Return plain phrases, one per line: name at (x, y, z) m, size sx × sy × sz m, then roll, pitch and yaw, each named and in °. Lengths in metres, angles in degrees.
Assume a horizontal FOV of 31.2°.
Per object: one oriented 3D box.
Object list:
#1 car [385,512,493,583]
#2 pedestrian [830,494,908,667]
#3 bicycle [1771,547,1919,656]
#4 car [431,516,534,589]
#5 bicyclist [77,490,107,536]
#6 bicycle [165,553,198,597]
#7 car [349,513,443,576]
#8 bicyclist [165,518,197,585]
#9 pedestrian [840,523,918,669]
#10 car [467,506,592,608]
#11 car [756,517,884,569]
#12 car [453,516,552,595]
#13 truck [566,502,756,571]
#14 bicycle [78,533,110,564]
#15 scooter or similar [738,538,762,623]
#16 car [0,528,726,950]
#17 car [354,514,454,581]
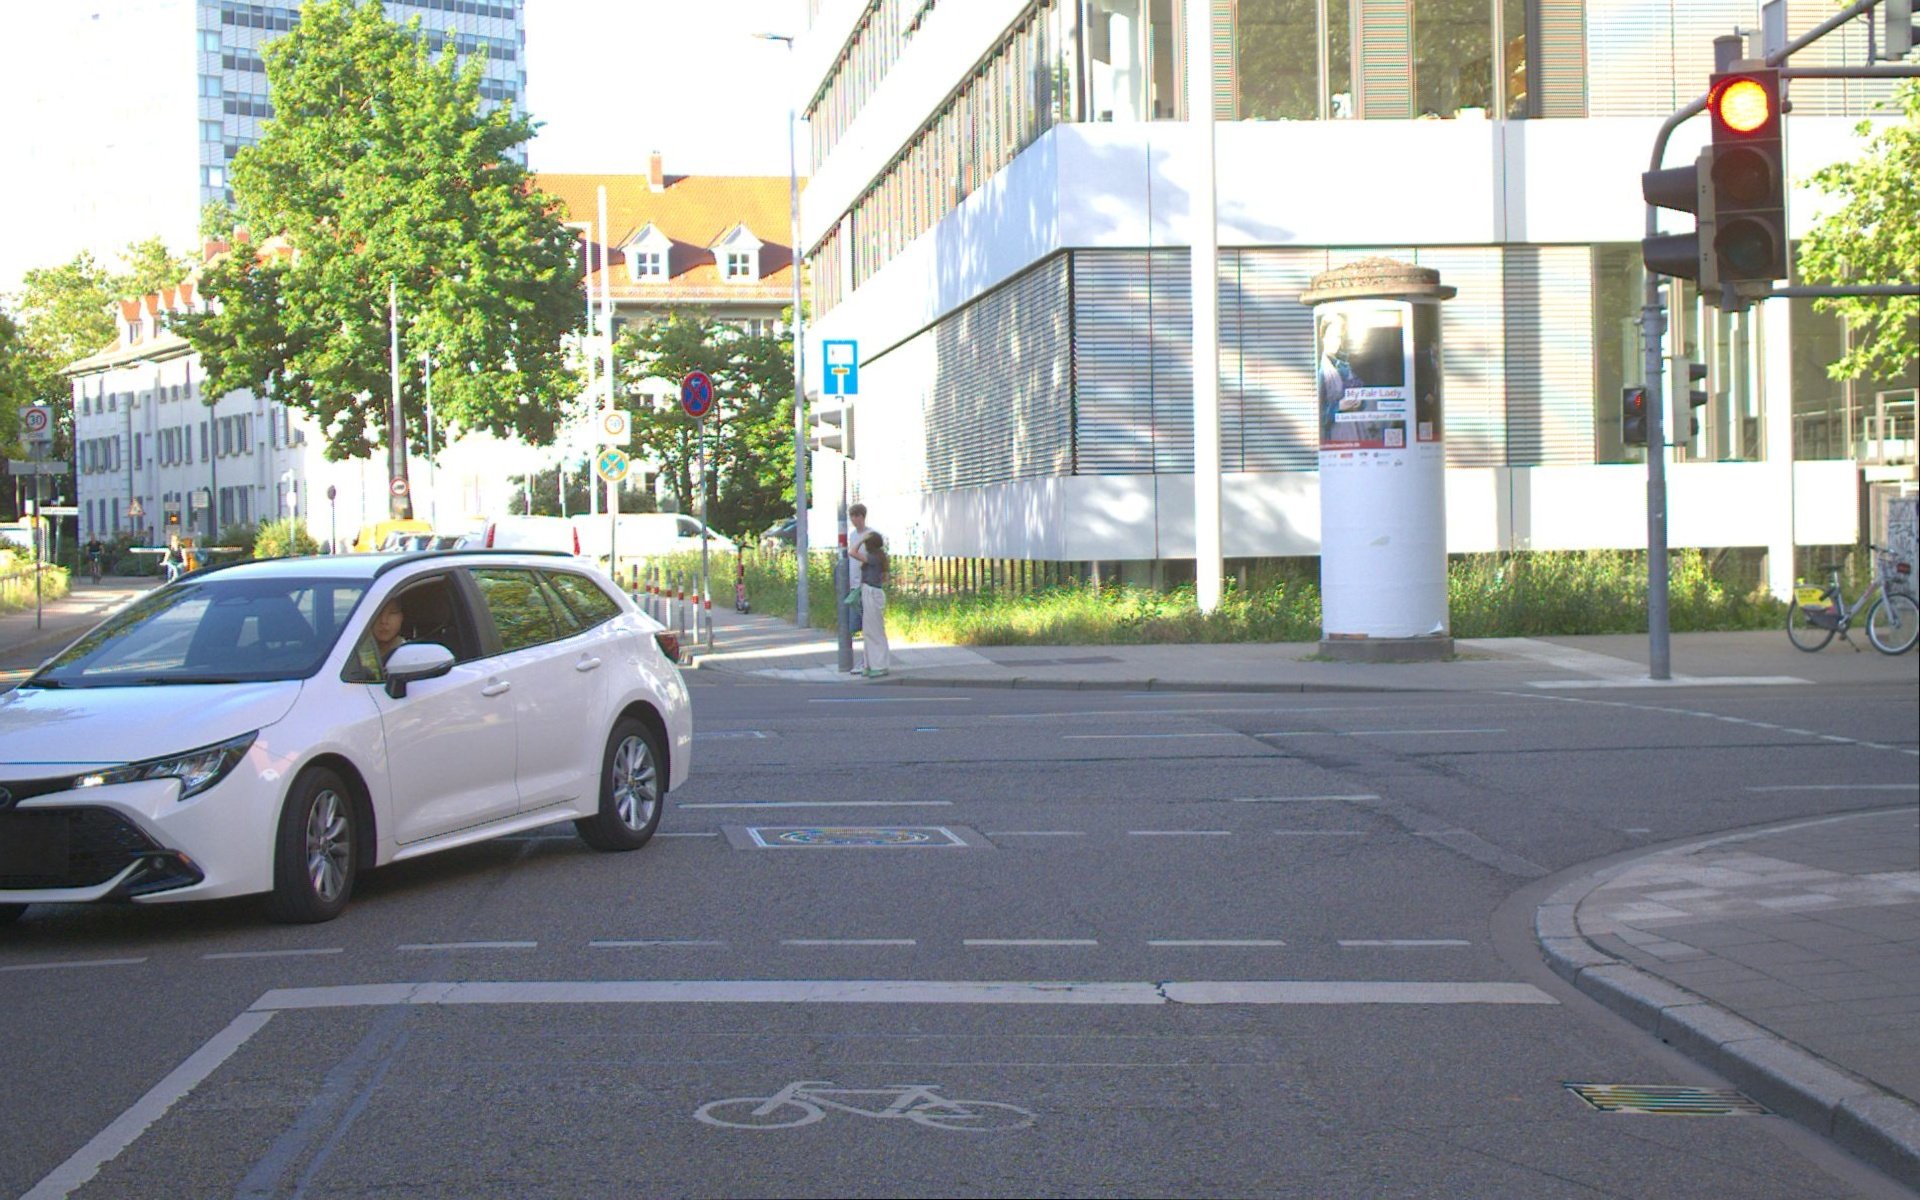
car at (-12.995, -1.330, 85.560) m, size 1.888 × 1.650 × 4.417 m, roll -1°, pitch 2°, yaw -19°
pedestrian at (-0.996, -0.220, 37.806) m, size 0.560 × 1.844 × 0.677 m, roll -3°, pitch 2°, yaw 16°
bicycle at (9.319, 0.001, 36.036) m, size 0.507 × 1.045 × 1.687 m, roll -4°, pitch 5°, yaw -35°
car at (-10.912, -1.115, 78.313) m, size 1.888 × 1.550 × 4.417 m, roll -1°, pitch 2°, yaw -13°
bicyclist at (-29.747, -2.986, 117.840) m, size 0.865 × 1.510 × 1.019 m, roll -4°, pitch 1°, yaw -11°
bicycle at (-18.034, -0.587, 79.647) m, size 0.615 × 0.966 × 1.842 m, roll -2°, pitch 1°, yaw -9°
car at (-15.690, -1.570, 95.495) m, size 1.888 × 1.650 × 4.417 m, roll -1°, pitch 2°, yaw -19°
bicyclist at (-18.047, -1.124, 79.649) m, size 0.615 × 1.527 × 0.903 m, roll -2°, pitch 1°, yaw -9°
pedestrian at (-0.880, -0.049, 37.203) m, size 0.559 × 1.535 × 0.677 m, roll -5°, pitch 2°, yaw -18°
car at (-8.129, -0.843, 64.676) m, size 2.084 × 1.789 × 4.417 m, roll -1°, pitch 2°, yaw -10°
car at (-4.243, -1.736, 104.238) m, size 3.554 × 1.541 × 1.559 m, roll -1°, pitch 1°, yaw -19°
car at (-9.738, -0.970, 72.942) m, size 1.888 × 1.550 × 4.417 m, roll -1°, pitch 2°, yaw -10°
truck at (-8.958, -1.916, 103.050) m, size 5.336 × 2.007 × 2.001 m, roll -1°, pitch 1°, yaw -19°
bicycle at (-29.681, -1.757, 117.848) m, size 0.865 × 1.006 × 2.415 m, roll -4°, pitch 1°, yaw -11°
scooter or similar at (-3.583, -0.332, 58.570) m, size 0.330 × 1.419 × 1.335 m, roll 1°, pitch 0°, yaw -6°
car at (-2.899, 0.503, 15.051) m, size 1.889 × 1.471 × 4.540 m, roll -3°, pitch 1°, yaw 22°
car at (-14.695, -1.410, 90.675) m, size 1.888 × 1.650 × 4.417 m, roll -1°, pitch 2°, yaw -19°
